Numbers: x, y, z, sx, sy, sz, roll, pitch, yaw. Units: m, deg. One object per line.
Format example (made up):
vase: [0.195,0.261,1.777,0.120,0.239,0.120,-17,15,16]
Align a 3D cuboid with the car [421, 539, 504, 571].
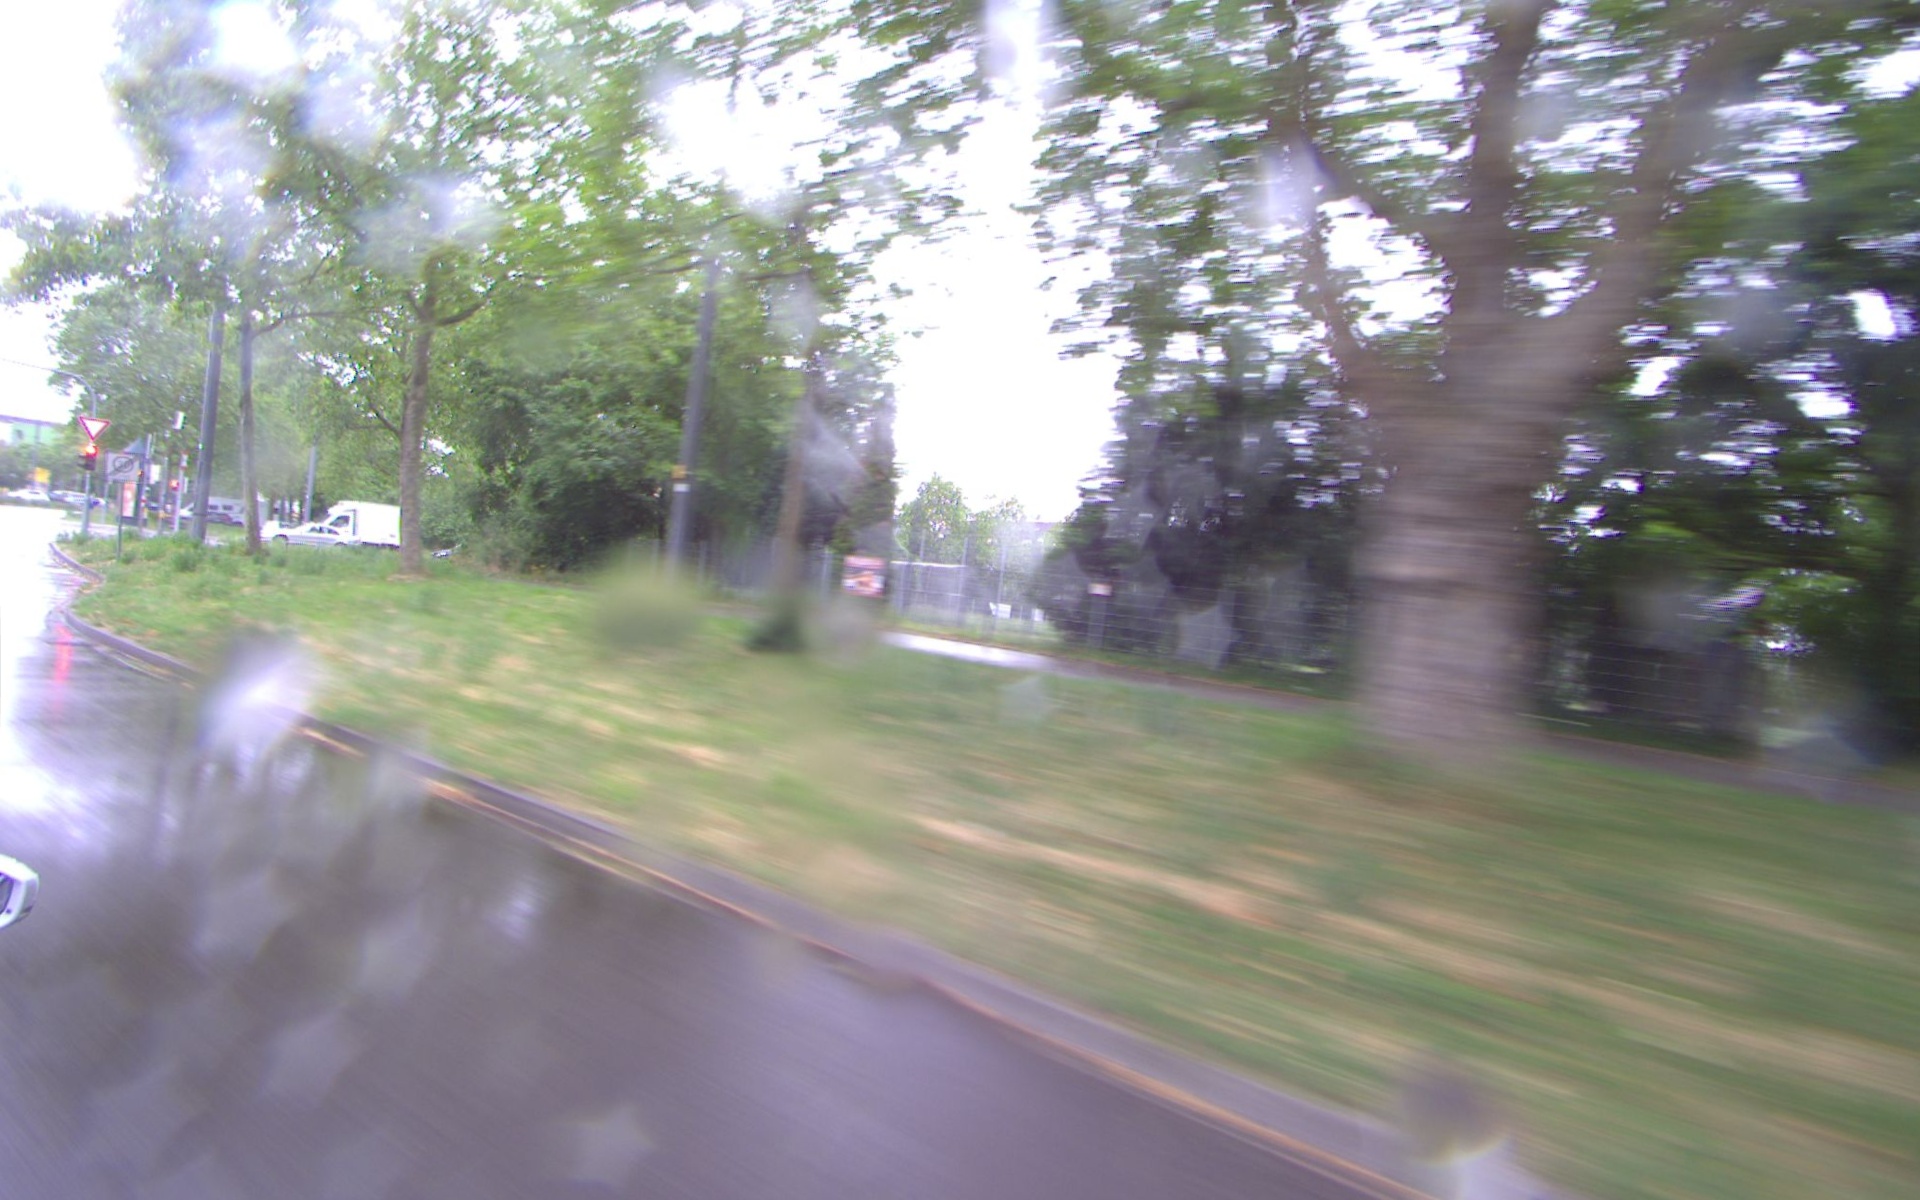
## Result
car: [-30.046,-2.706,60.843,1.621,1.407,4.106,7,0,40]

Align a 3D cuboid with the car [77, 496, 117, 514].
car: [-120.883,-13.255,140.971,4.117,1.883,1.654,6,0,-41]

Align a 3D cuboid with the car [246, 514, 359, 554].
car: [-33.740,-3.371,51.742,1.621,1.407,4.508,7,-1,40]

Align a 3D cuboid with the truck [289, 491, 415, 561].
truck: [-33.943,-4.071,56.324,1.952,3.096,5.463,7,0,40]

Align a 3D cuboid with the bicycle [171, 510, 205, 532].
bicycle: [-47.891,-4.899,62.403,0.492,1.115,1.562,7,1,33]

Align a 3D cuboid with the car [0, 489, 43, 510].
car: [-108.205,-11.612,115.489,1.649,1.883,4.131,7,0,39]

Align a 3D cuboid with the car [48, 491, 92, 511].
car: [-116.790,-12.939,132.047,4.117,2.000,1.654,6,1,-41]

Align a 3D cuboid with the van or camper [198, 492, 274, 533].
van or camper: [-66.421,-7.981,92.393,5.181,2.729,2.226,9,0,-29]

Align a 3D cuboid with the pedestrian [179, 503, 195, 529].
pedestrian: [-47.902,-5.209,62.326,0.492,1.494,0.576,7,1,33]
